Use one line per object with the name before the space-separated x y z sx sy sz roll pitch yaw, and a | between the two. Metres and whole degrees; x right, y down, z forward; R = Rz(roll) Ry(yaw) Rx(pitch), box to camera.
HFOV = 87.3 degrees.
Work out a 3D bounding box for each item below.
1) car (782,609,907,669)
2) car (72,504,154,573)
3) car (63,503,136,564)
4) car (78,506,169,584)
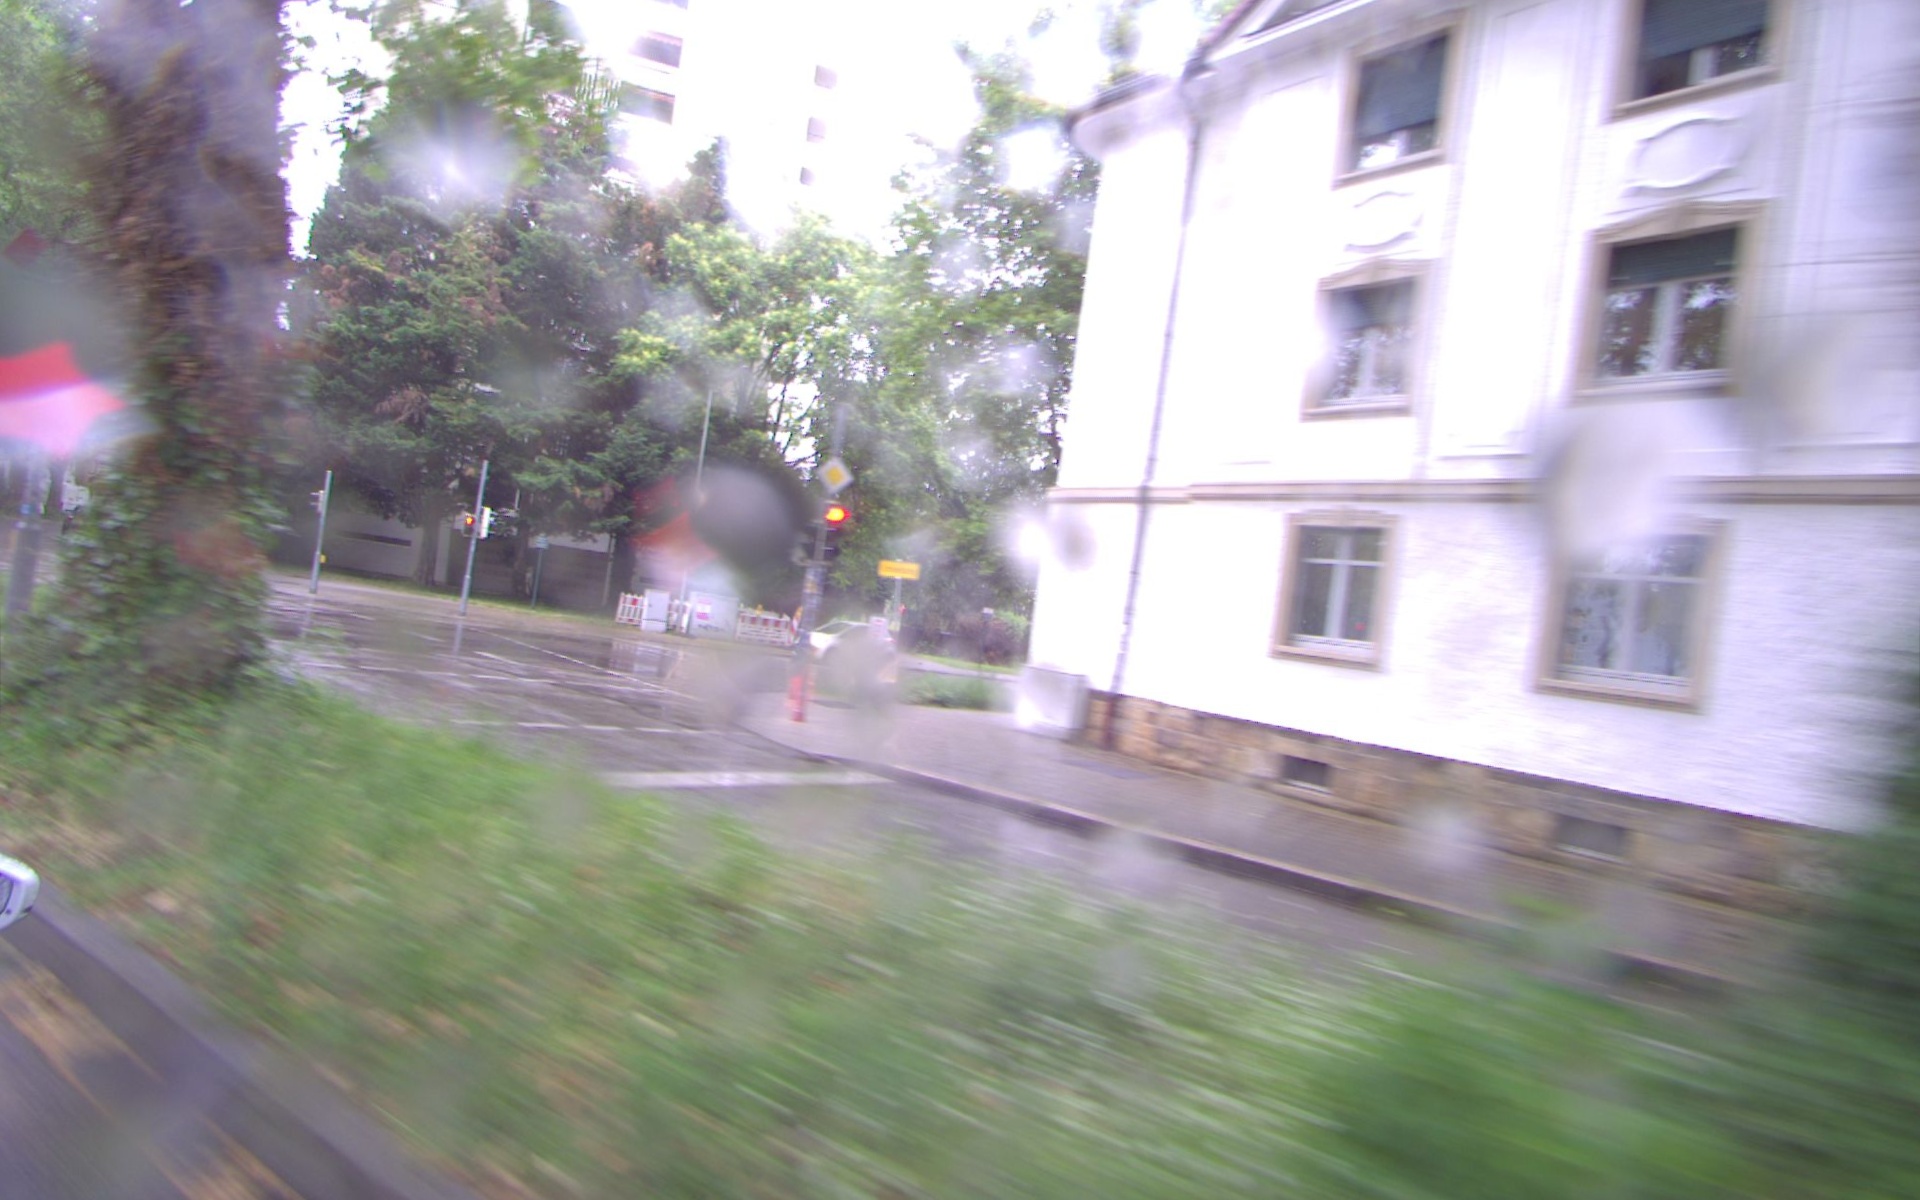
car | -3.711 1.293 32.670 1.702 1.504 3.633 8 0 44
car | -30.034 -2.211 35.653 1.986 2.038 3.953 7 0 -41
car | -34.595 -2.693 40.425 1.986 2.038 3.953 7 0 -41
car | -26.839 -1.788 32.233 1.986 2.038 3.953 7 0 -41
